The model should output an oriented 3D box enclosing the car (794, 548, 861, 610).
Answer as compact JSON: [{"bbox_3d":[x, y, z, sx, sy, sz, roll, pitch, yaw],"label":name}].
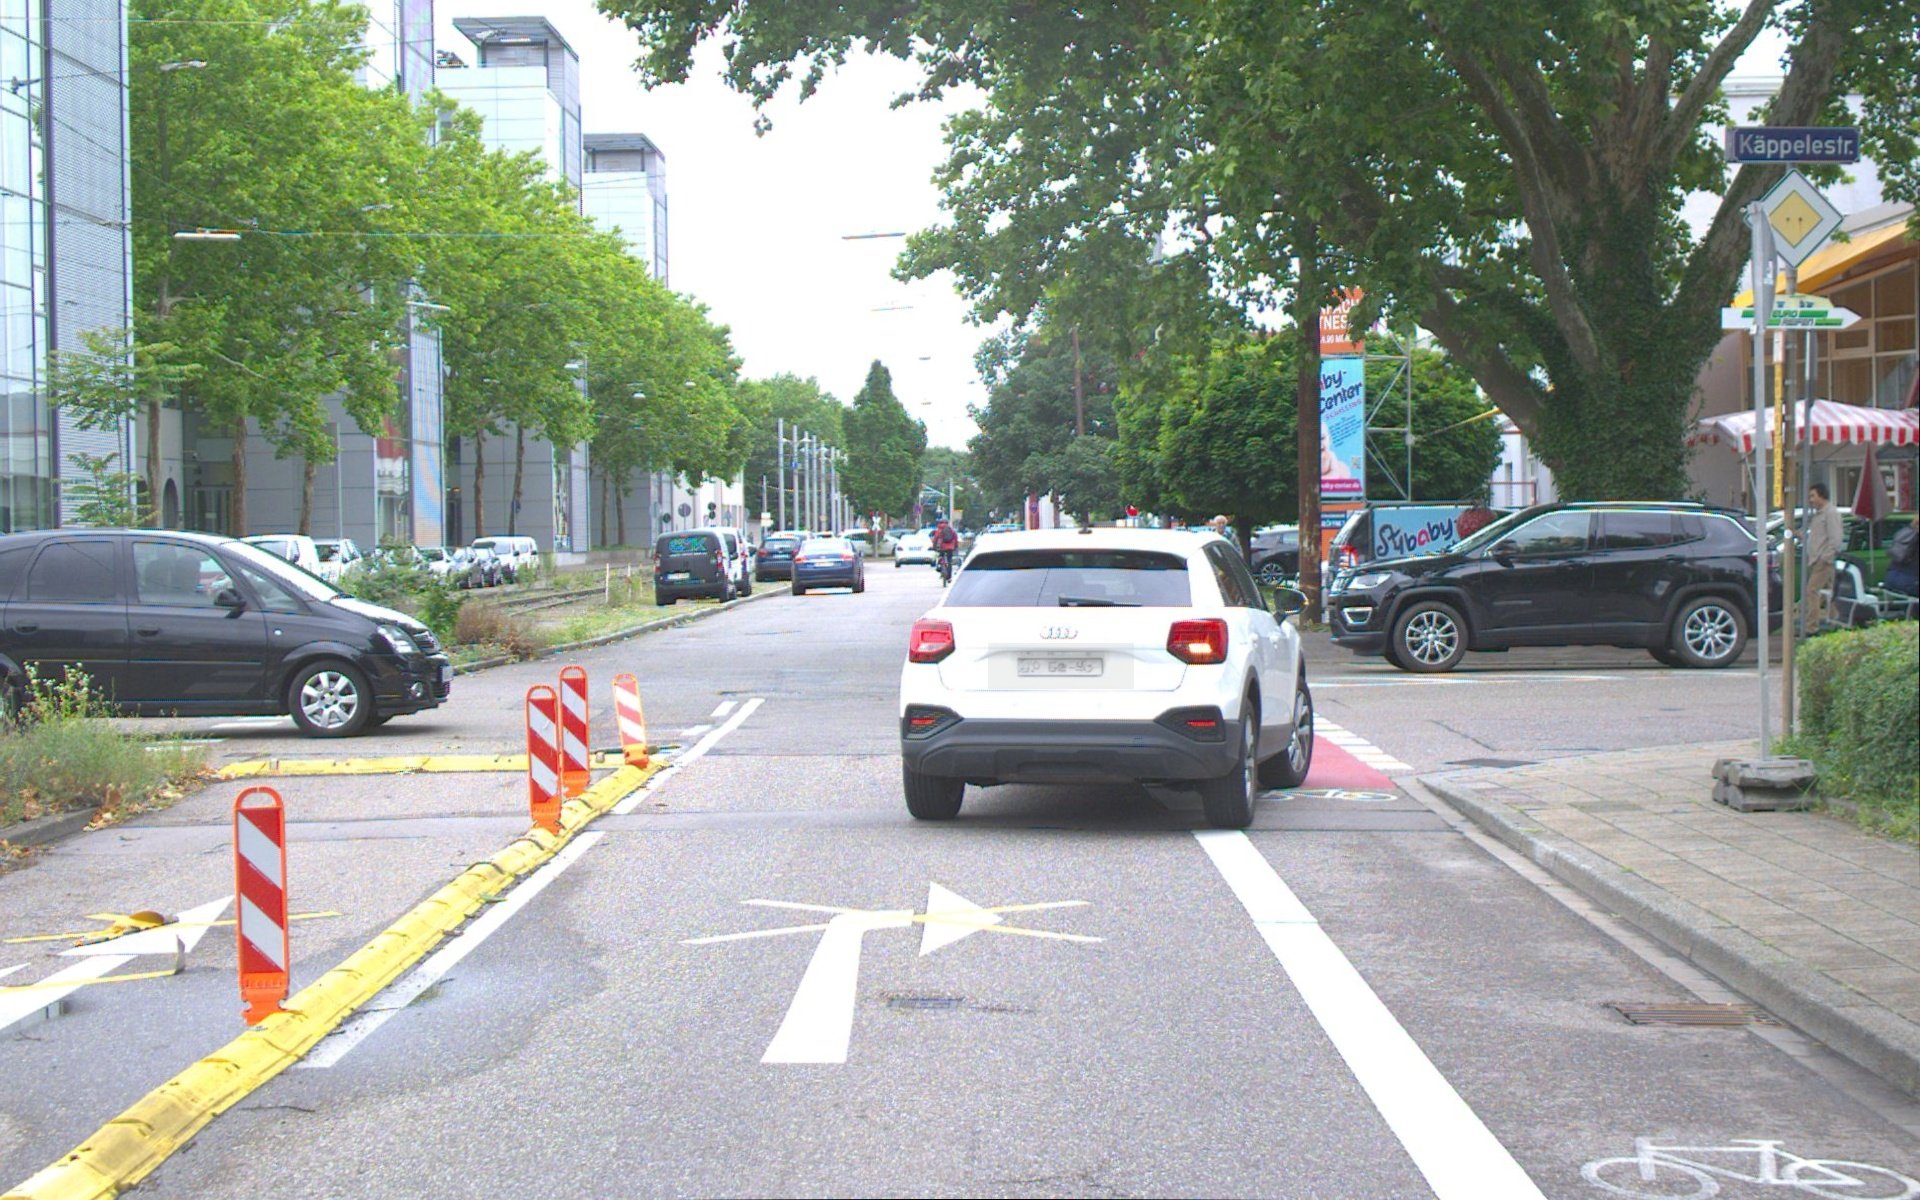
[{"bbox_3d":[-3.444,-0.560,89.054,1.684,1.508,3.706,0,2,-2],"label":"car"}]

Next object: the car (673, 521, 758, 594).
[{"bbox_3d":[-6.171,-1.095,86.967,1.877,1.757,4.000,-1,1,-1],"label":"car"}]

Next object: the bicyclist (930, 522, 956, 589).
[{"bbox_3d":[-0.466,-1.226,93.795,0.670,1.809,0.760,0,1,-2],"label":"bicyclist"}]

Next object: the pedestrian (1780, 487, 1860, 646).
[{"bbox_3d":[9.377,-0.366,37.483,0.679,1.699,0.598,-1,1,-1],"label":"pedestrian"}]

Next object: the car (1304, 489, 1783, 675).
[{"bbox_3d":[5.602,-0.185,33.425,4.314,1.671,1.993,-1,1,1],"label":"car"}]

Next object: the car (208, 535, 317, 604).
[{"bbox_3d":[-17.460,-0.774,86.196,1.877,1.627,4.206,-1,1,-1],"label":"car"}]

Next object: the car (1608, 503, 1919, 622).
[{"bbox_3d":[11.303,-0.532,47.742,4.212,1.546,1.790,-1,1,-2],"label":"car"}]

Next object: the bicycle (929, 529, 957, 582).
[{"bbox_3d":[-0.473,-1.226,93.762,0.670,1.389,2.167,0,2,-2],"label":"bicycle"}]

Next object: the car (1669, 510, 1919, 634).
[{"bbox_3d":[11.717,-0.394,45.592,4.212,1.546,1.790,-1,1,-2],"label":"car"}]

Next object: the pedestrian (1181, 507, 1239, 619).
[{"bbox_3d":[3.854,-0.579,53.014,0.760,1.699,0.681,-1,1,-4],"label":"pedestrian"}]

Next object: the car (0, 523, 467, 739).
[{"bbox_3d":[-5.870,0.212,26.408,3.883,1.550,1.825,1,1,0],"label":"car"}]

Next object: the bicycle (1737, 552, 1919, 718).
[{"bbox_3d":[7.392,0.239,26.472,2.673,1.208,0.819,-2,1,-17],"label":"bicycle"}]

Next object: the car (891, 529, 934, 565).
[{"bbox_3d":[-2.089,-2.347,150.651,1.795,1.508,3.706,0,2,-2],"label":"car"}]

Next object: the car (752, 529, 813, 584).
[{"bbox_3d":[-5.941,-1.470,115.368,1.877,1.757,4.000,-1,1,-1],"label":"car"}]

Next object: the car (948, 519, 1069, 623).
[{"bbox_3d":[0.775,-0.518,57.294,1.877,1.627,4.000,-1,1,-1],"label":"car"}]

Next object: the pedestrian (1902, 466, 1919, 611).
[{"bbox_3d":[11.497,-0.731,40.342,0.679,1.699,0.598,-1,1,-1],"label":"pedestrian"}]

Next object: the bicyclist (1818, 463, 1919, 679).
[{"bbox_3d":[7.380,-0.236,26.461,1.230,1.624,0.819,-1,1,-17],"label":"bicyclist"}]

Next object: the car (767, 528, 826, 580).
[{"bbox_3d":[-5.726,-1.627,120.578,1.877,1.757,4.000,-1,1,-1],"label":"car"}]

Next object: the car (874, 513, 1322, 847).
[{"bbox_3d":[0.855,0.335,18.598,1.824,1.595,3.774,1,2,12],"label":"car"}]

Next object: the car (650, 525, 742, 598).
[{"bbox_3d":[-6.214,-0.928,81.154,1.877,1.627,4.000,-1,1,-1],"label":"car"}]
